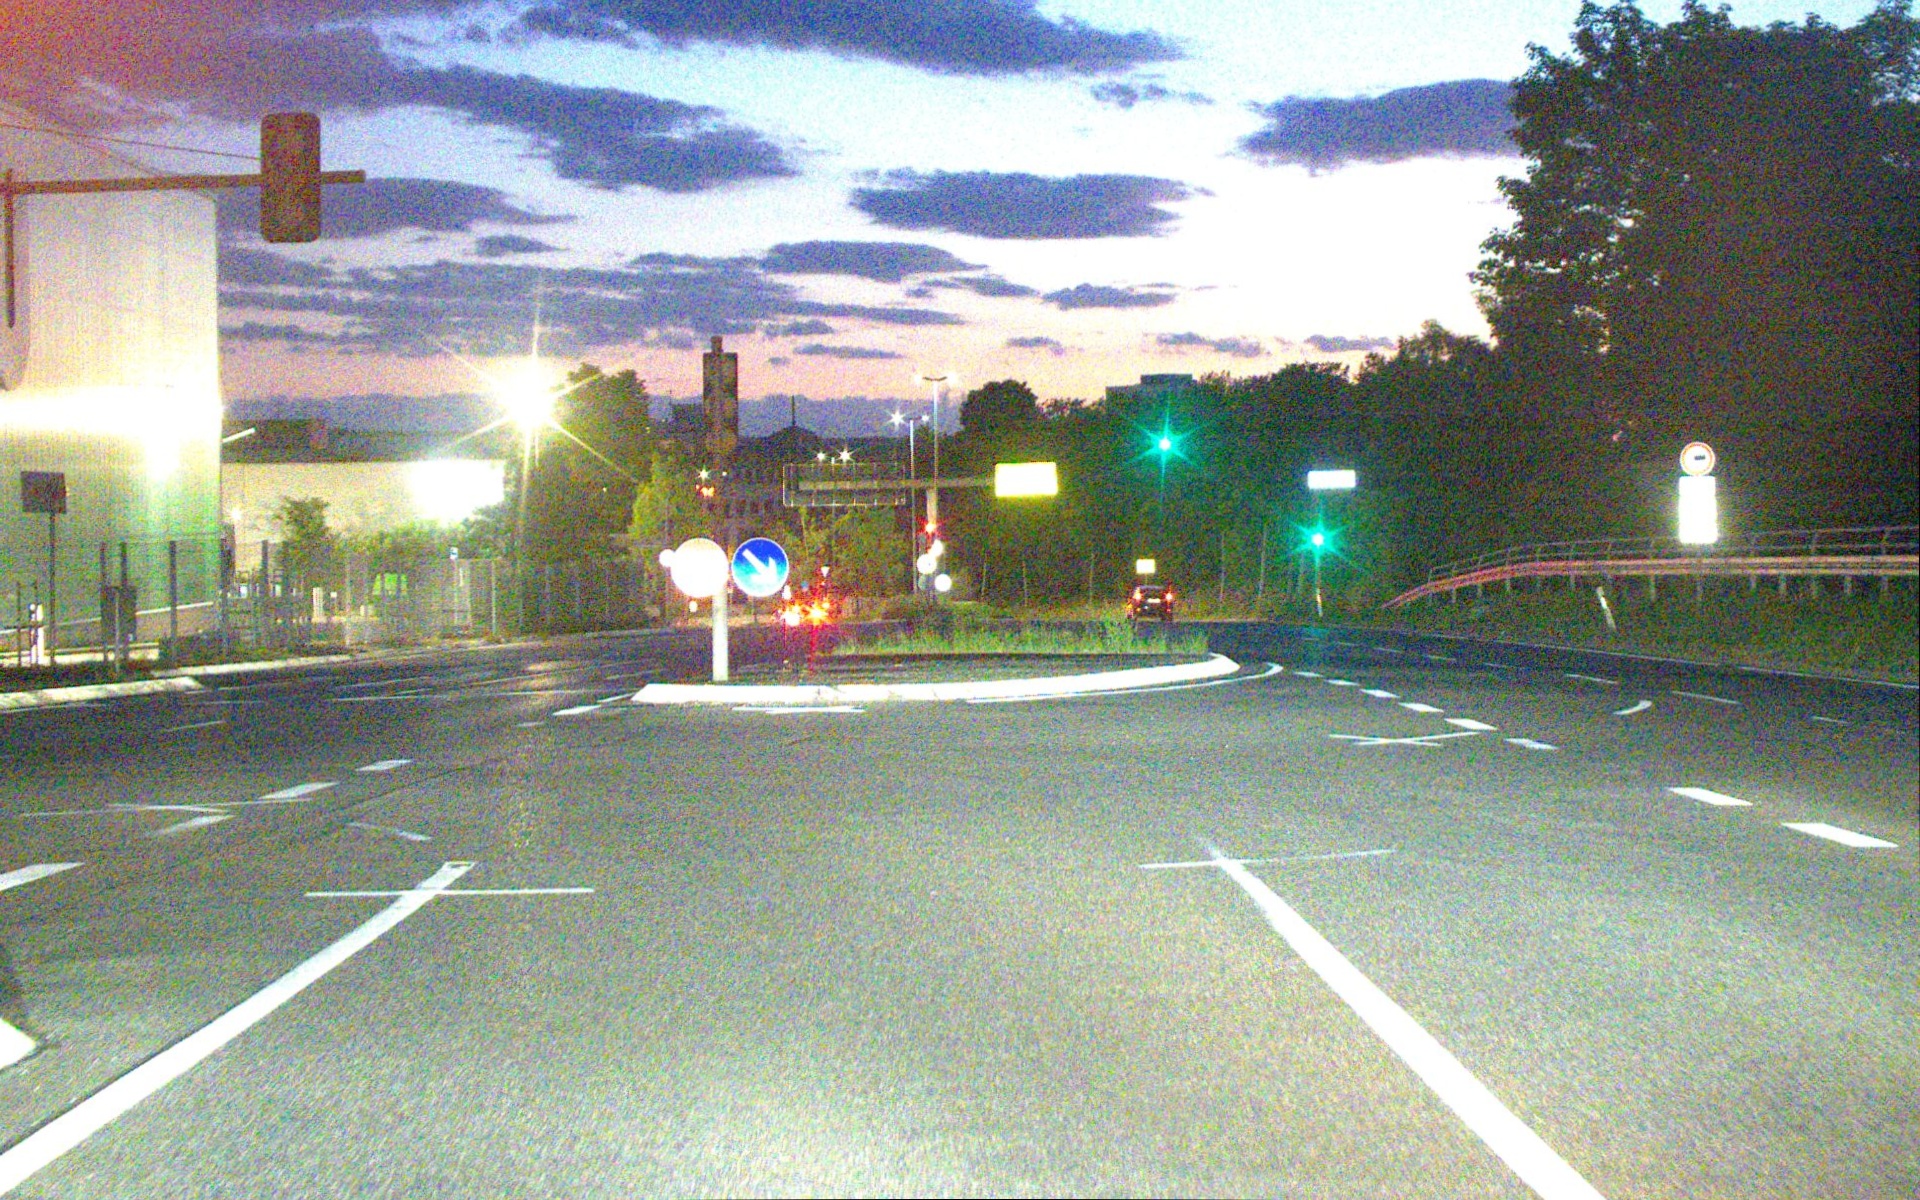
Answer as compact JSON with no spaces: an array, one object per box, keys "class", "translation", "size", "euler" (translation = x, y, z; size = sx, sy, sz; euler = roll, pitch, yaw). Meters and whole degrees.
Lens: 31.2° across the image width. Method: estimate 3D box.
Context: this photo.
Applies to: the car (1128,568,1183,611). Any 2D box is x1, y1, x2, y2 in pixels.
[{"class":"car","translation":[8.050,-0.447,141.610],"size":[1.935,1.640,4.001],"euler":[-1,1,-1]}]
